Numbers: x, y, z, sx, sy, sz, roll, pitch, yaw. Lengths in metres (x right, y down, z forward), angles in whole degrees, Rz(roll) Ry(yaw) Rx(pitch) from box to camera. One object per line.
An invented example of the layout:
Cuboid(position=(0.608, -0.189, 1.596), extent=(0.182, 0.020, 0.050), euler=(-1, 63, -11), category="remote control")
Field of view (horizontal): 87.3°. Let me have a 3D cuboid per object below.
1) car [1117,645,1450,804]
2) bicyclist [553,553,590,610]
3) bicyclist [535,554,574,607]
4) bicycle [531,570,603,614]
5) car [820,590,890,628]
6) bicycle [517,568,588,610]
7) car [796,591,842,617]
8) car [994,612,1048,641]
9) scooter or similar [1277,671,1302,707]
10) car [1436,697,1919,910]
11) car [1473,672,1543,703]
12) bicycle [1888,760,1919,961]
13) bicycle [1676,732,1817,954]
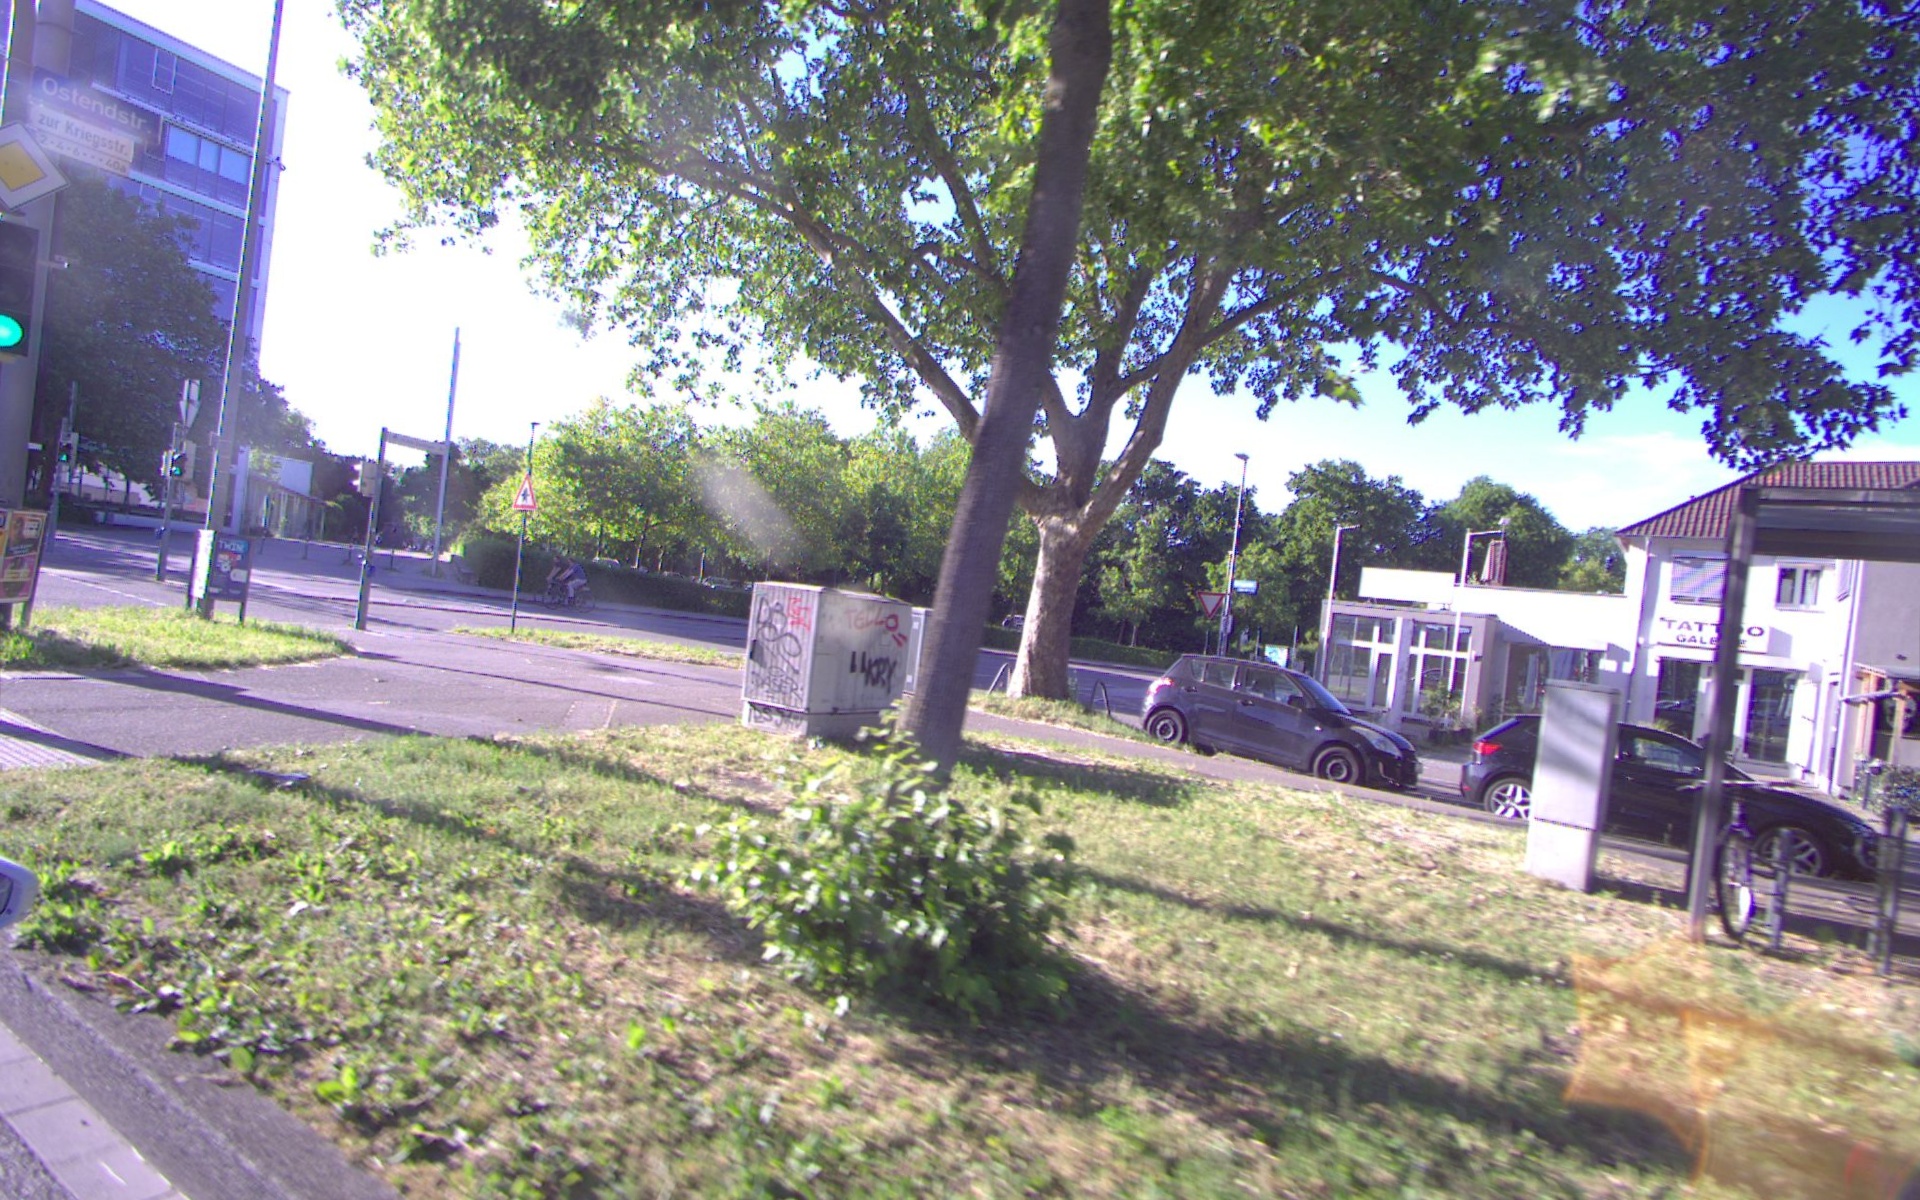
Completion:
Cuboid(position=(4.506, 1.665, 14.191), extent=(3.973, 1.482, 1.896), euler=(7, -1, 35), category="car")
Cuboid(position=(-13.130, -0.626, 33.982), extent=(0.868, 1.759, 0.825), euler=(7, 1, -32), category="bicyclist")
Cuboid(position=(-13.975, -0.676, 34.678), extent=(0.871, 1.674, 0.783), euler=(6, 1, -43), category="bicyclist")
Cuboid(position=(-13.213, -0.269, 33.882), extent=(2.084, 1.218, 0.546), euler=(7, 1, -34), category="bicycle")
Cuboid(position=(-5.318, 0.429, 50.610), extent=(1.979, 1.482, 3.971), euler=(9, -1, -29), category="car")
Cuboid(position=(-14.033, -0.364, 34.673), extent=(2.091, 1.218, 0.544), euler=(7, 1, -44), category="bicycle")
Cuboid(position=(-10.945, 0.296, 77.883), extent=(1.981, 1.482, 3.965), euler=(9, -1, -33), category="car")
Cuboid(position=(4.952, 2.125, 81.059), extent=(3.981, 1.480, 1.976), euler=(14, -3, -42), category="car")
Cuboid(position=(11.700, 3.165, 35.788), extent=(0.257, 1.178, 1.010), euler=(7, 0, -11), category="scooter or similar")
Cuboid(position=(8.118, 2.174, 11.719), extent=(4.279, 1.428, 1.895), euler=(7, -1, 36), category="car")
Cuboid(position=(35.372, 5.655, 64.913), extent=(4.427, 1.483, 1.983), euler=(8, 0, -32), category="car")
Cuboid(position=(6.113, 1.618, 5.967), extent=(0.542, 1.183, 1.698), euler=(7, -1, 34), category="bicycle")
Cuboid(position=(5.162, 1.502, 6.575), extent=(0.543, 1.183, 1.695), euler=(7, -1, 40), category="bicycle")
